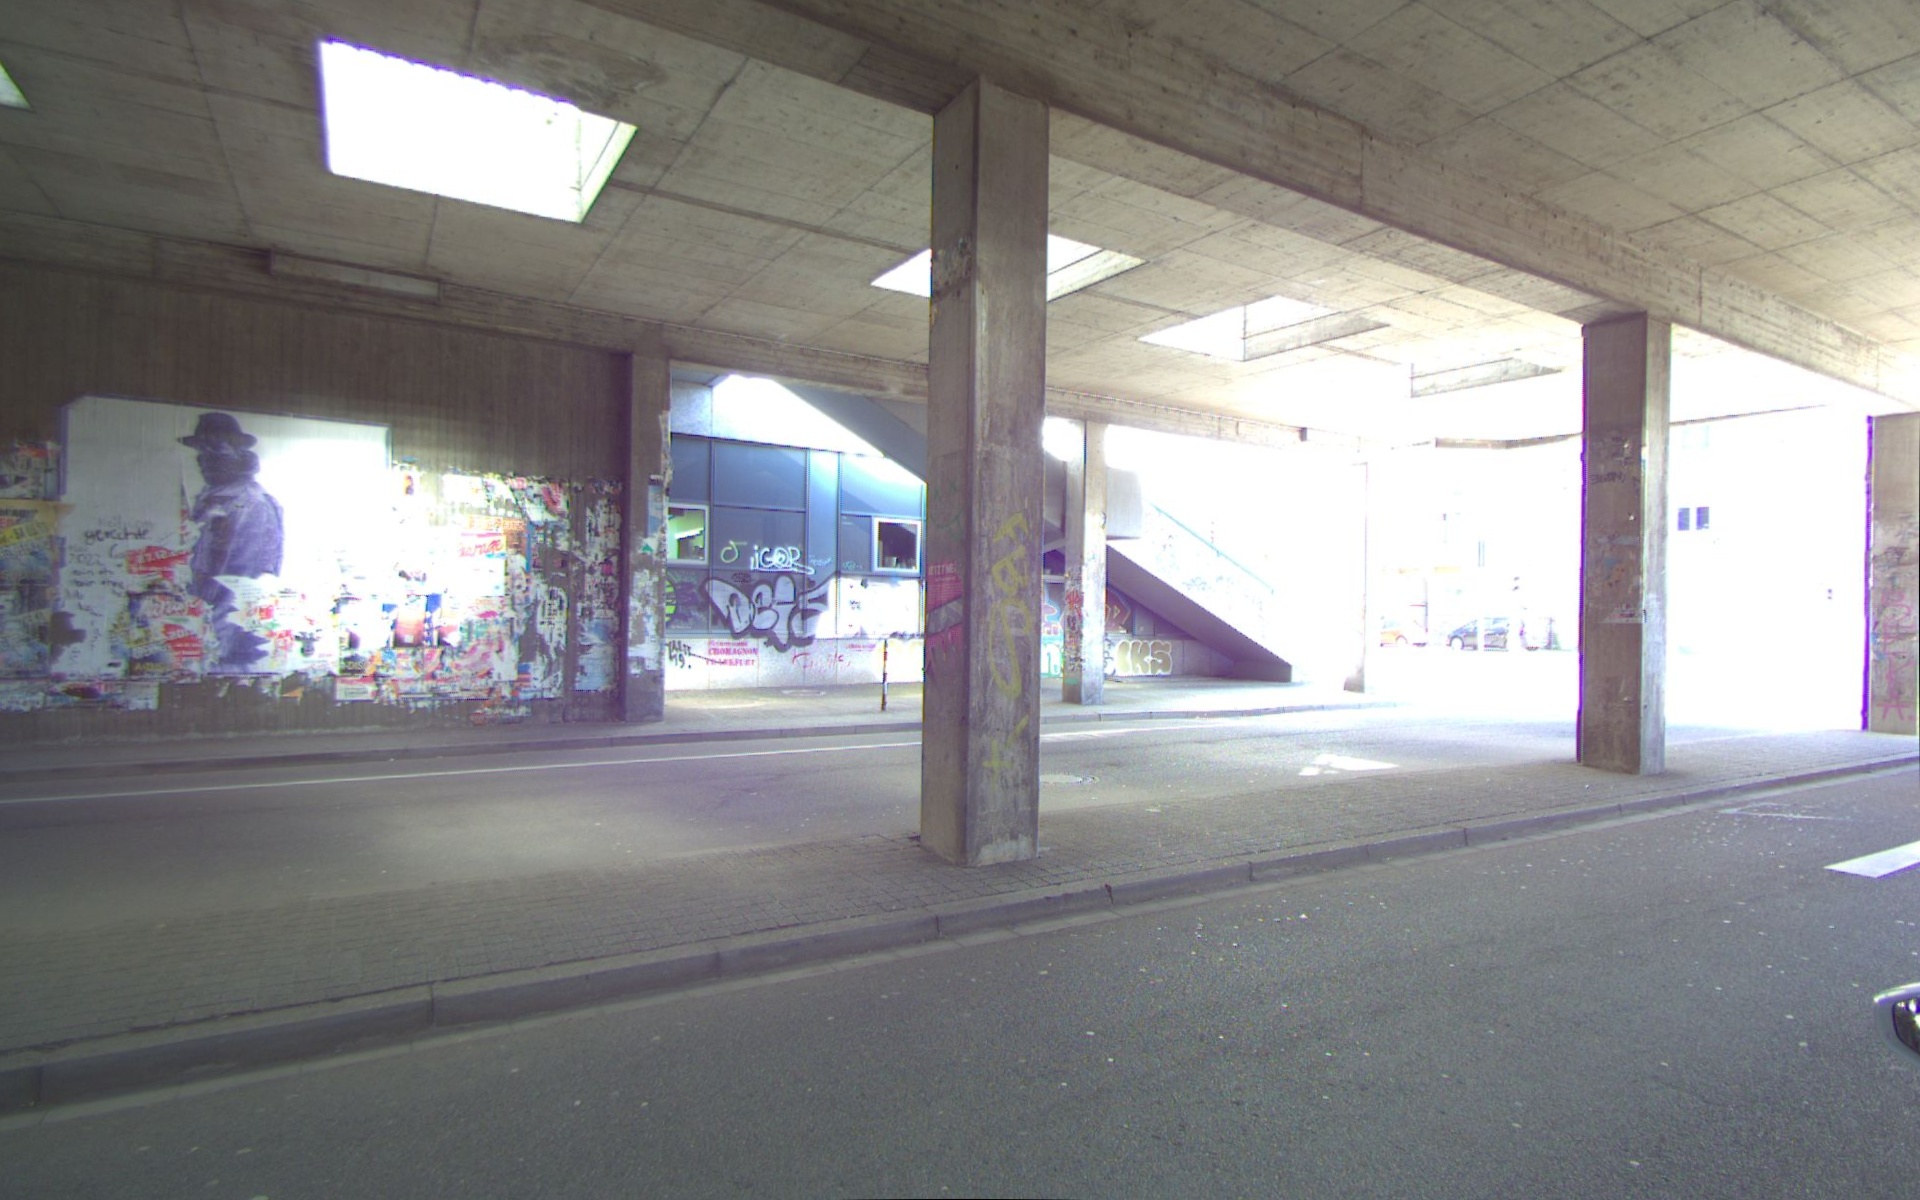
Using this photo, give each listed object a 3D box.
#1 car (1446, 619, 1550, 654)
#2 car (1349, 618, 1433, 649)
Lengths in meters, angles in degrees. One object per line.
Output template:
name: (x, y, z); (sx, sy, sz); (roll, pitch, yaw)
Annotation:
car: (25.448, 1.710, 47.646); (1.718, 1.495, 4.089); (2, -1, -31)
car: (22.536, 1.726, 52.601); (1.730, 1.495, 3.741); (2, -1, -31)
